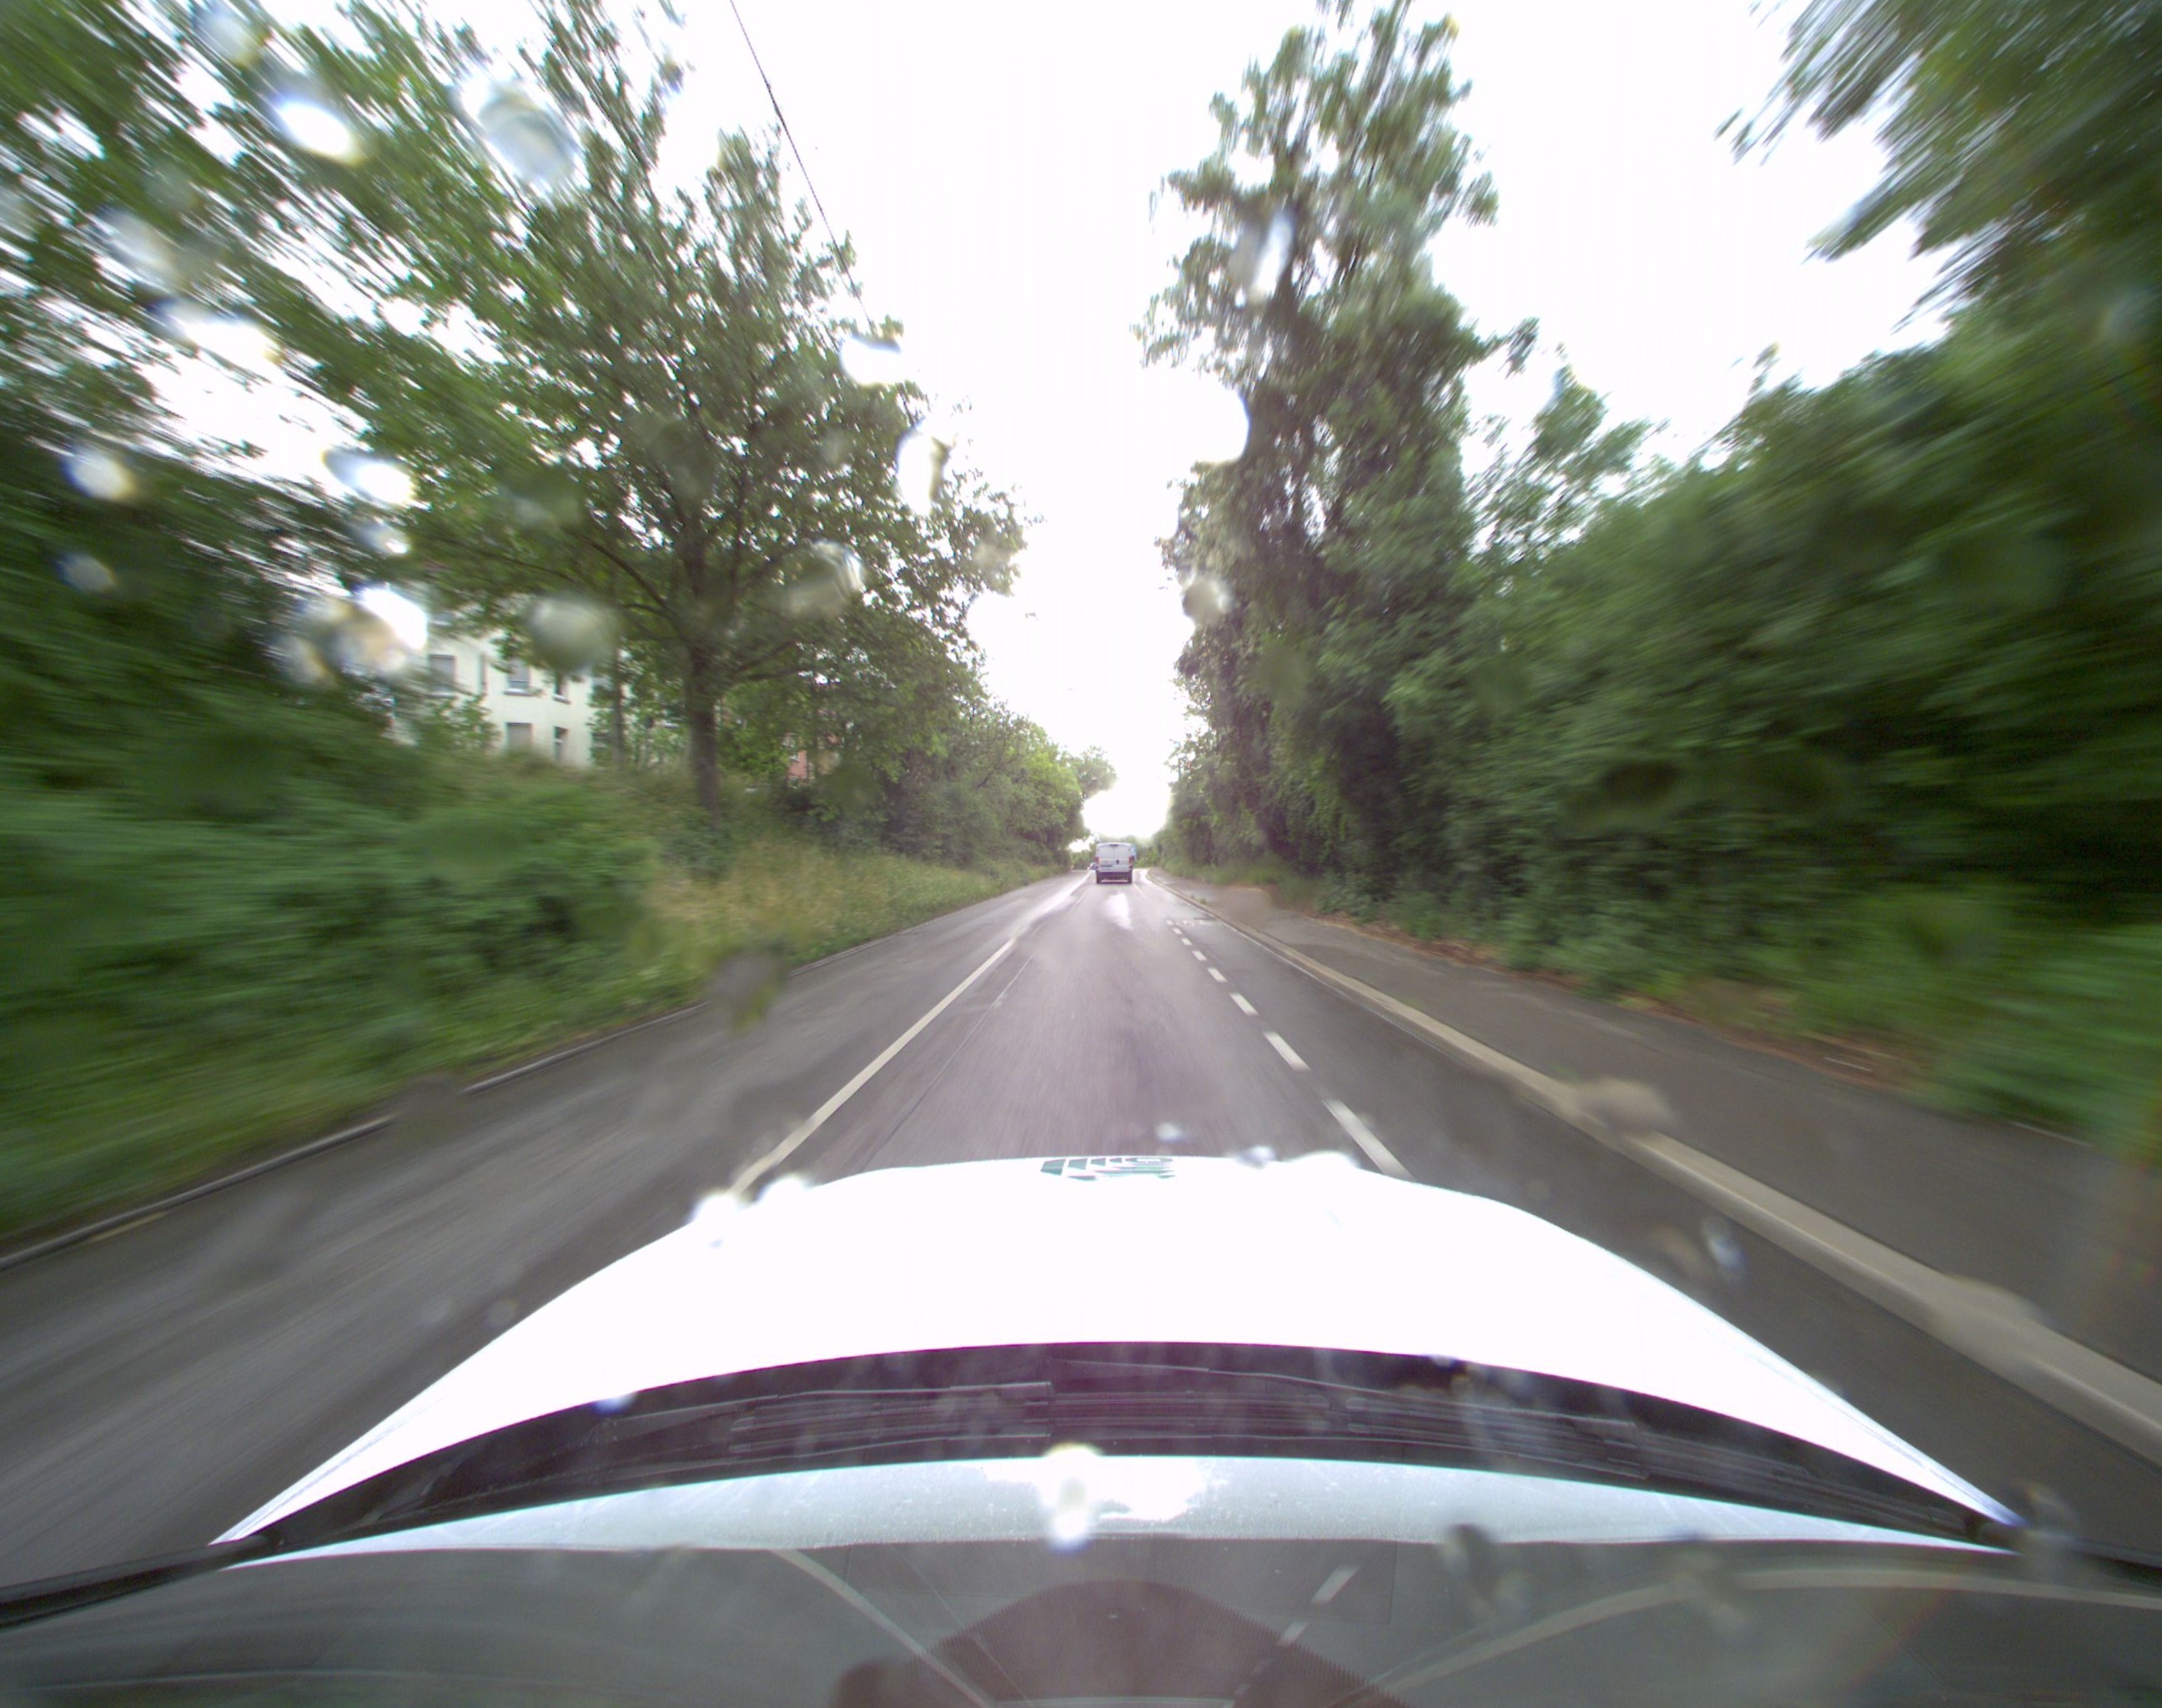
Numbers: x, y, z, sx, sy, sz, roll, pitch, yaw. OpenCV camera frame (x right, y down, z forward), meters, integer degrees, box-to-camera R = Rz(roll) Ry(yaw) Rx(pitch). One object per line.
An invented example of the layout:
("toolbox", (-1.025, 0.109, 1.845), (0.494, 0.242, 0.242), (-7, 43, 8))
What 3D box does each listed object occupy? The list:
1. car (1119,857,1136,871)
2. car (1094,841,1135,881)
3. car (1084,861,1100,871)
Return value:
("car", (6.632, 1.409, 116.361), (2.230, 1.804, 4.713), (-1, 0, 0))
("car", (1.924, 0.392, 46.944), (2.229, 2.213, 4.715), (-1, 0, 2))
("car", (2.003, 2.265, 154.399), (2.111, 1.711, 4.696), (-1, 0, -11))
